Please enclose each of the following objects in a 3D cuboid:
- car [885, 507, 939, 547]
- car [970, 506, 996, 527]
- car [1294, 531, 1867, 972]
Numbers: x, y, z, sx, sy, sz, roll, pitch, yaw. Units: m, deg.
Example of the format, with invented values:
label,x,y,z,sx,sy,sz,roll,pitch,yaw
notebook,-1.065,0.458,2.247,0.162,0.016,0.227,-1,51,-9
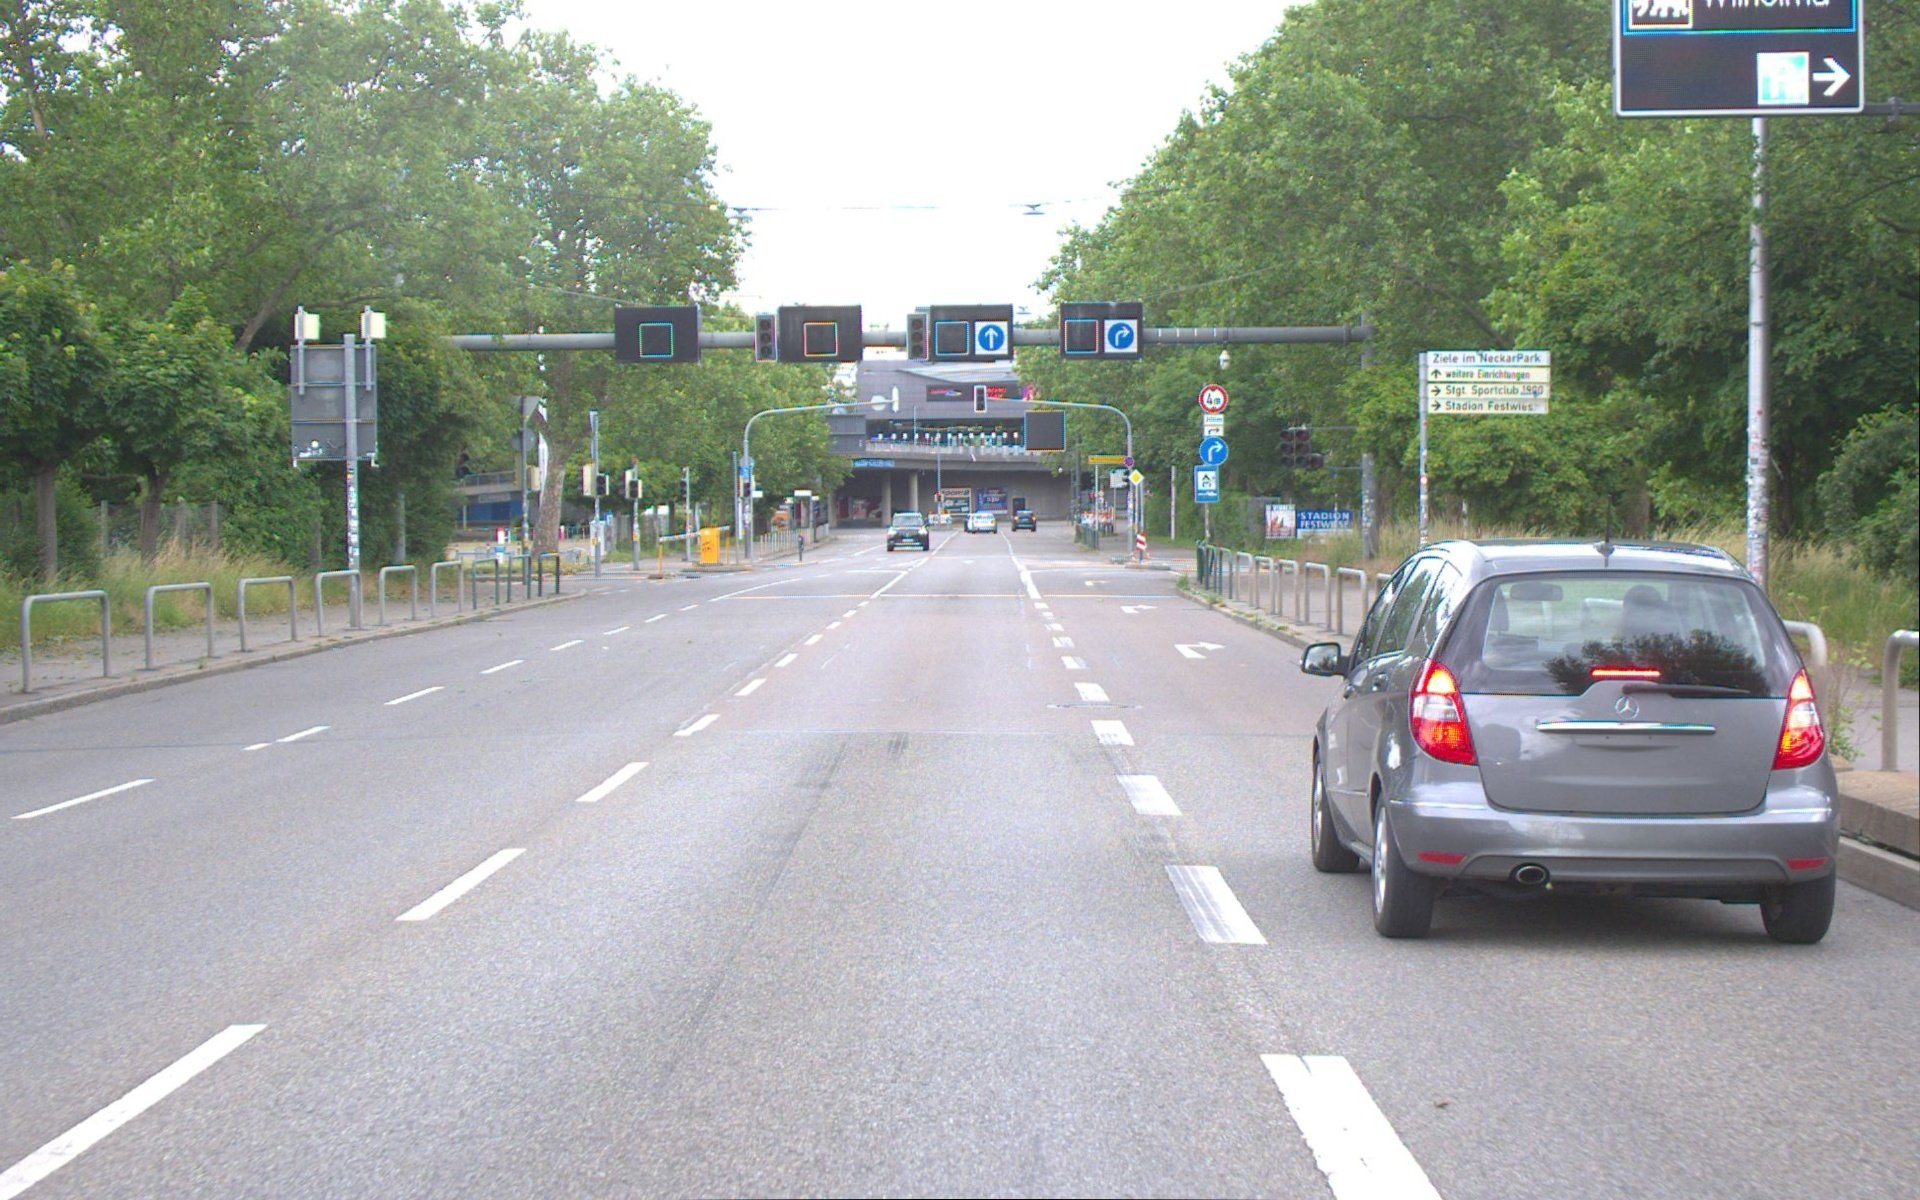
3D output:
label,x,y,z,sx,sy,sz,roll,pitch,yaw
car,-2.105,-3.243,152.436,1.994,1.654,4.517,-2,1,4
car,1.699,-6.151,252.839,1.778,1.455,3.822,1,2,2
car,2.471,0.516,14.644,1.826,1.611,4.034,0,1,2
